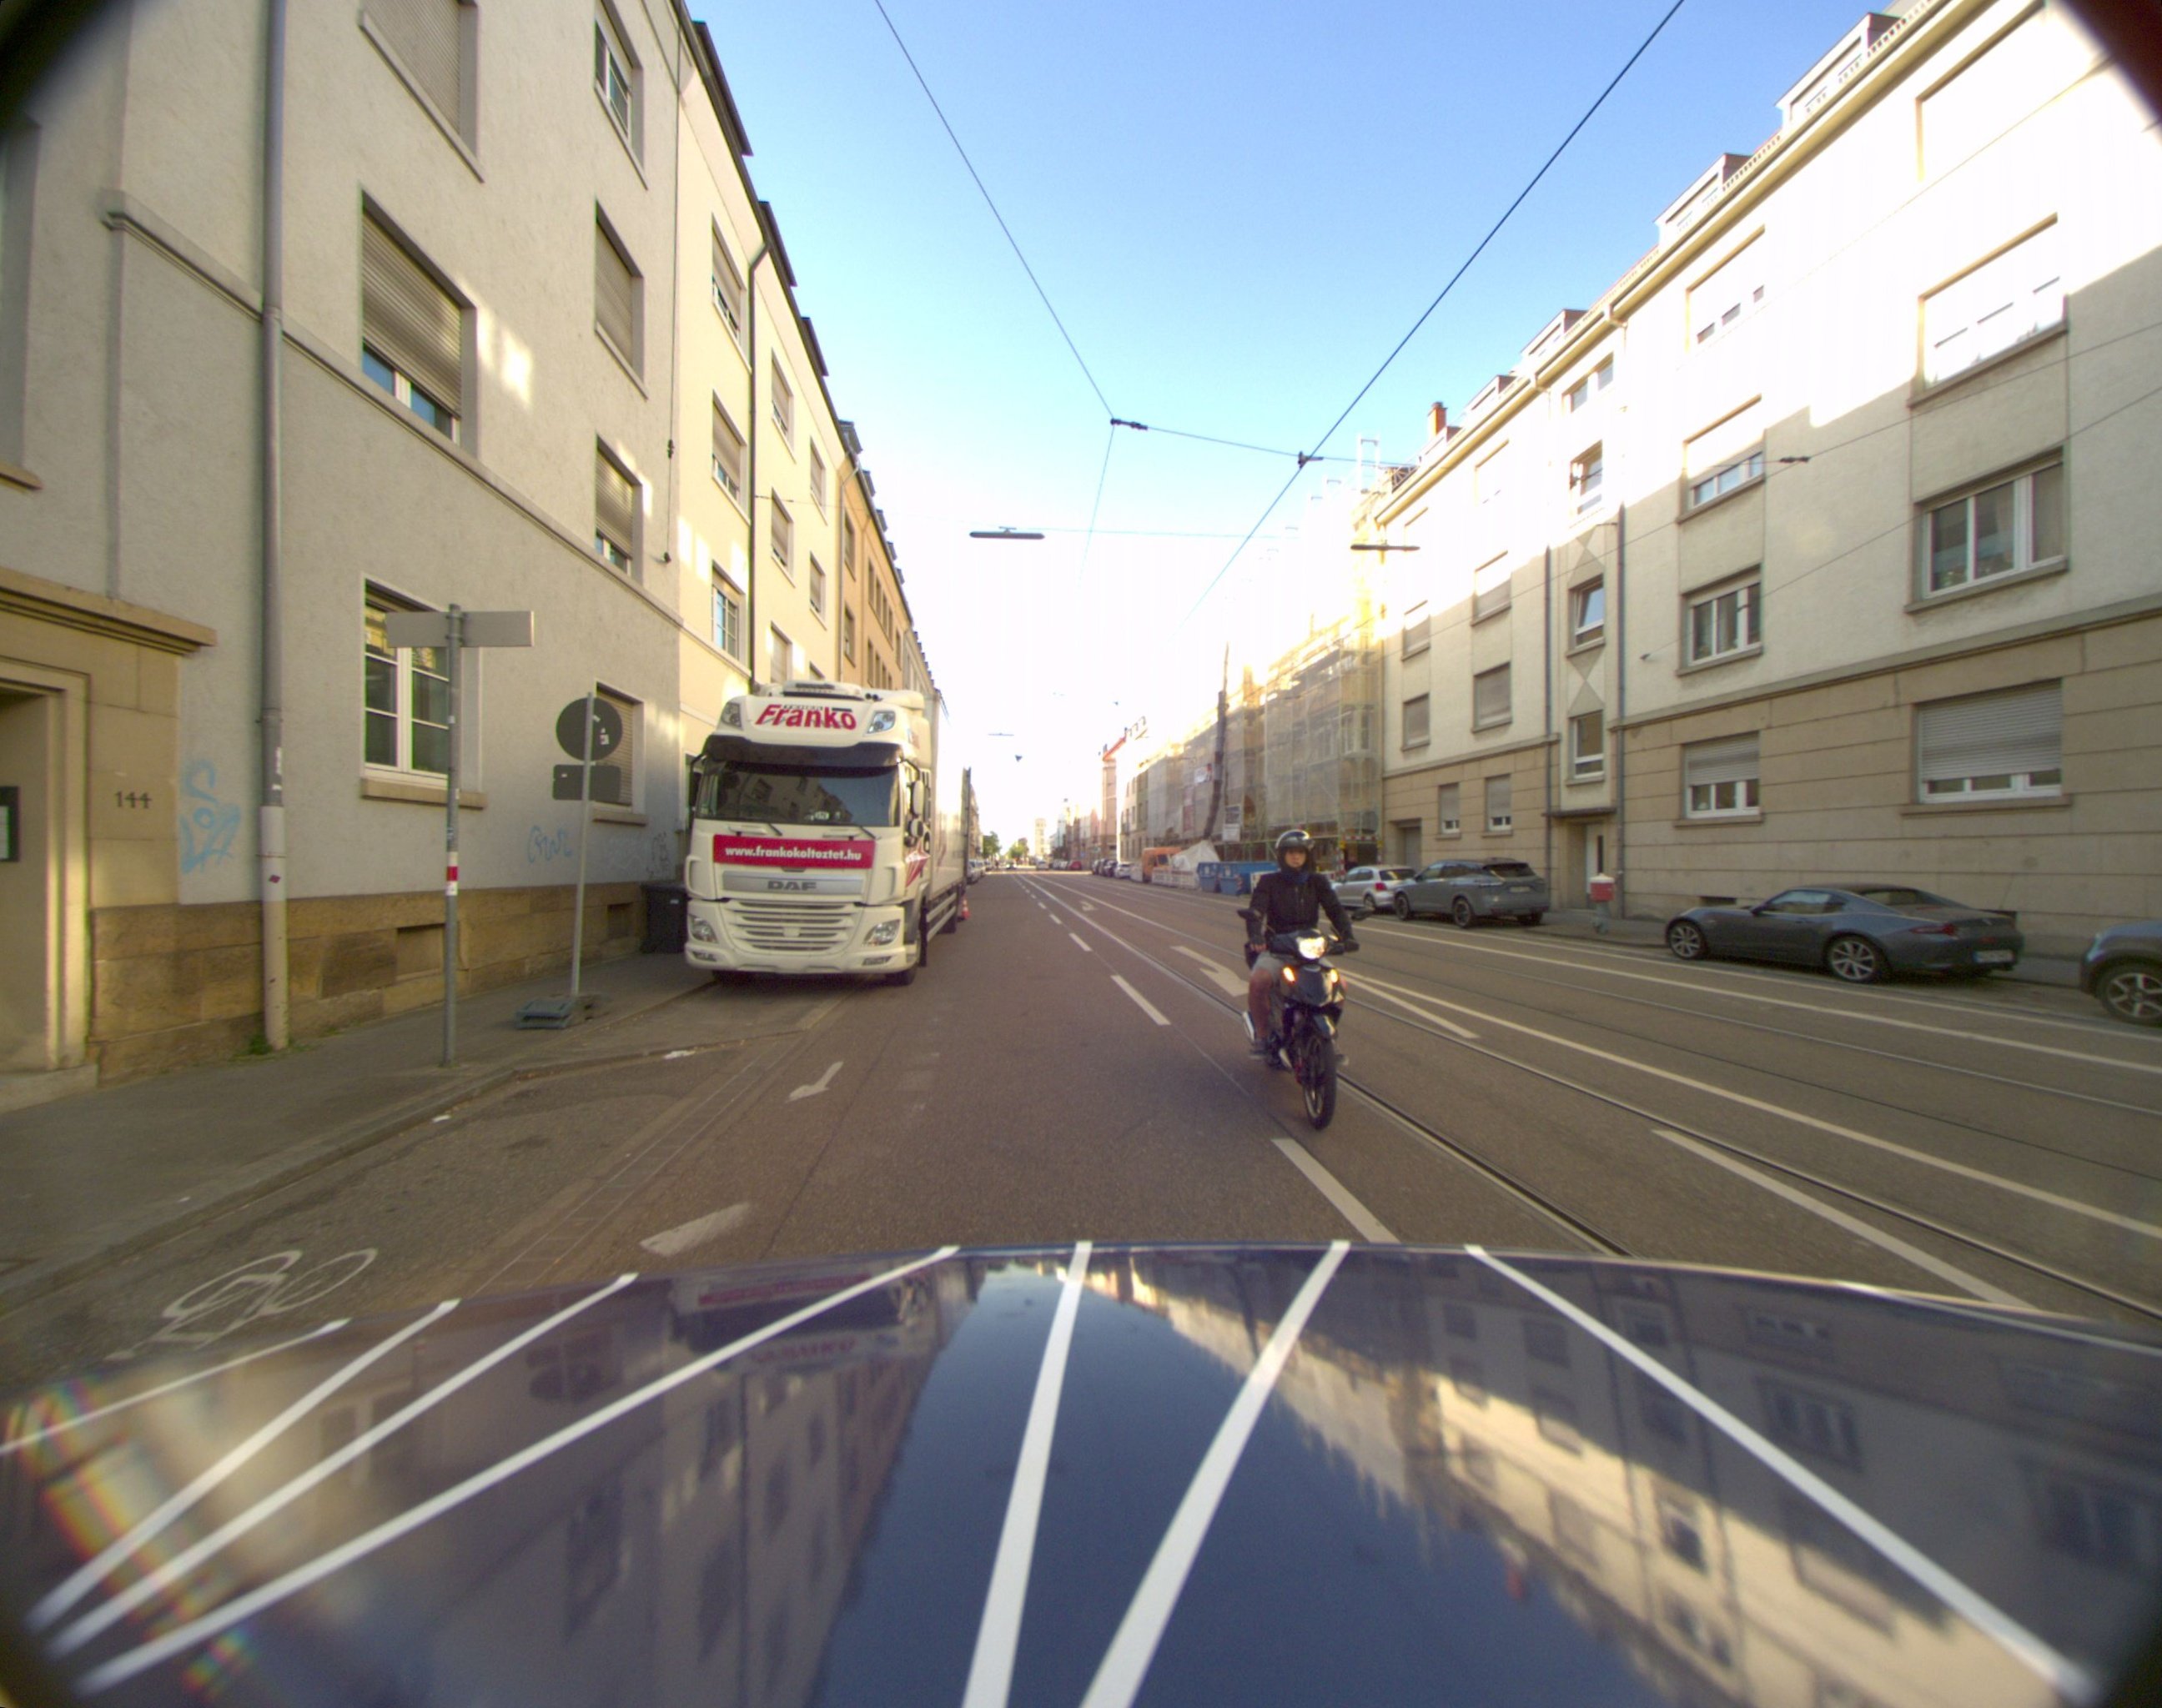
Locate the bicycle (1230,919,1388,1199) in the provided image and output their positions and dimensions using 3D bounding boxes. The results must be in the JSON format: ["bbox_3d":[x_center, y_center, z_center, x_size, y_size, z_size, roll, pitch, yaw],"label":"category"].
[{"bbox_3d":[1.368,1.074,4.691,0.739,1.170,1.976,0,0,15],"label":"bicycle"}]

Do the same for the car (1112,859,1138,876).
[{"bbox_3d":[3.933,1.182,68.174,1.752,1.502,3.998,1,0,-6],"label":"car"}]

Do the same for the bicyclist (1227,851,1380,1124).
[{"bbox_3d":[1.386,0.761,4.824,0.843,1.545,0.851,0,0,14],"label":"bicyclist"}]

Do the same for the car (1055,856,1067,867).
[{"bbox_3d":[-3.846,1.491,146.117,2.000,2.002,3.998,1,0,-6],"label":"car"}]

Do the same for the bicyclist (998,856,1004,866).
[{"bbox_3d":[-11.449,0.965,108.527,0.744,1.480,0.816,0,0,-4],"label":"bicyclist"}]

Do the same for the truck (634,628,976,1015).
[{"bbox_3d":[-3.712,-0.297,13.936,2.868,4.049,11.773,0,0,-5],"label":"truck"}]

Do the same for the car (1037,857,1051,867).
[{"bbox_3d":[-5.969,1.270,123.270,1.826,1.559,4.198,-1,0,-8],"label":"car"}]

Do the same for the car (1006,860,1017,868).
[{"bbox_3d":[-12.495,1.776,136.775,1.860,1.369,3.999,0,0,-3],"label":"car"}]

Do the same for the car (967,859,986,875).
[{"bbox_3d":[-10.114,1.258,73.695,1.704,1.496,3.861,0,0,-5],"label":"car"}]

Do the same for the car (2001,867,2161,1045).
[{"bbox_3d":[10.887,0.964,6.230,1.704,1.560,3.997,-2,1,-6],"label":"car"}]

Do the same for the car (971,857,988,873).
[{"bbox_3d":[-10.503,1.103,78.798,1.704,1.581,3.959,0,0,-6],"label":"car"}]

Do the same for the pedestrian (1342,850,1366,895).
[{"bbox_3d":[10.520,0.715,29.277,0.582,1.684,0.716,-1,0,-6],"label":"pedestrian"}]

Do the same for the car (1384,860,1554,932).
[{"bbox_3d":[9.481,0.948,19.025,1.704,1.558,4.403,0,0,-6],"label":"car"}]

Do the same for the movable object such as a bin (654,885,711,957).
[{"bbox_3d":[-6.371,1.052,12.166,0.660,1.098,0.541,0,0,-8],"label":"movable object such as a bin"}]

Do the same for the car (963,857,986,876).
[{"bbox_3d":[-9.520,1.102,68.061,1.703,1.688,4.186,1,0,-3],"label":"car"}]

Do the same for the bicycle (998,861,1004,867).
[{"bbox_3d":[-11.456,1.472,108.413,0.744,0.850,1.885,0,0,-4],"label":"bicycle"}]

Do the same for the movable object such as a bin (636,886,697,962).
[{"bbox_3d":[-6.299,1.053,11.578,0.660,1.098,0.541,0,0,-8],"label":"movable object such as a bin"}]

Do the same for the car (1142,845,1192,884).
[{"bbox_3d":[5.640,0.683,50.720,2.126,2.454,5.997,1,0,-5],"label":"car"}]

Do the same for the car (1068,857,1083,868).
[{"bbox_3d":[-0.863,1.288,115.807,1.799,1.494,3.767,-2,0,-7],"label":"car"}]

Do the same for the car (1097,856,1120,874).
[{"bbox_3d":[2.877,1.157,80.399,1.799,1.835,3.767,-2,0,-7],"label":"car"}]

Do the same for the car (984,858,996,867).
[{"bbox_3d":[-16.650,1.470,139.072,2.000,1.630,3.998,1,0,-6],"label":"car"}]

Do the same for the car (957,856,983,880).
[{"bbox_3d":[-8.182,1.030,56.174,1.714,1.683,4.587,1,0,-6],"label":"car"}]

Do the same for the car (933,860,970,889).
[{"bbox_3d":[-6.837,1.048,40.316,1.613,1.454,3.478,1,0,-5],"label":"car"}]

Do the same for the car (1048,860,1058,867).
[{"bbox_3d":[-6.074,1.978,164.491,1.799,1.494,3.767,-2,0,-7],"label":"car"}]

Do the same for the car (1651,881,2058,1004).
[{"bbox_3d":[10.483,1.097,10.755,1.704,1.209,3.783,-2,1,-7],"label":"car"}]

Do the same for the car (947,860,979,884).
[{"bbox_3d":[-7.690,1.164,49.875,1.704,1.443,4.204,1,0,-4],"label":"car"}]

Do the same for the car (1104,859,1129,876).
[{"bbox_3d":[3.476,1.285,74.471,1.703,1.569,4.220,-2,0,-7],"label":"car"}]

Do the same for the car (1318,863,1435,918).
[{"bbox_3d":[9.043,1.052,23.609,1.704,1.407,3.997,-3,1,-5],"label":"car"}]

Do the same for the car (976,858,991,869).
[{"bbox_3d":[-13.934,1.360,109.216,2.000,1.411,3.725,1,0,-6],"label":"car"}]
